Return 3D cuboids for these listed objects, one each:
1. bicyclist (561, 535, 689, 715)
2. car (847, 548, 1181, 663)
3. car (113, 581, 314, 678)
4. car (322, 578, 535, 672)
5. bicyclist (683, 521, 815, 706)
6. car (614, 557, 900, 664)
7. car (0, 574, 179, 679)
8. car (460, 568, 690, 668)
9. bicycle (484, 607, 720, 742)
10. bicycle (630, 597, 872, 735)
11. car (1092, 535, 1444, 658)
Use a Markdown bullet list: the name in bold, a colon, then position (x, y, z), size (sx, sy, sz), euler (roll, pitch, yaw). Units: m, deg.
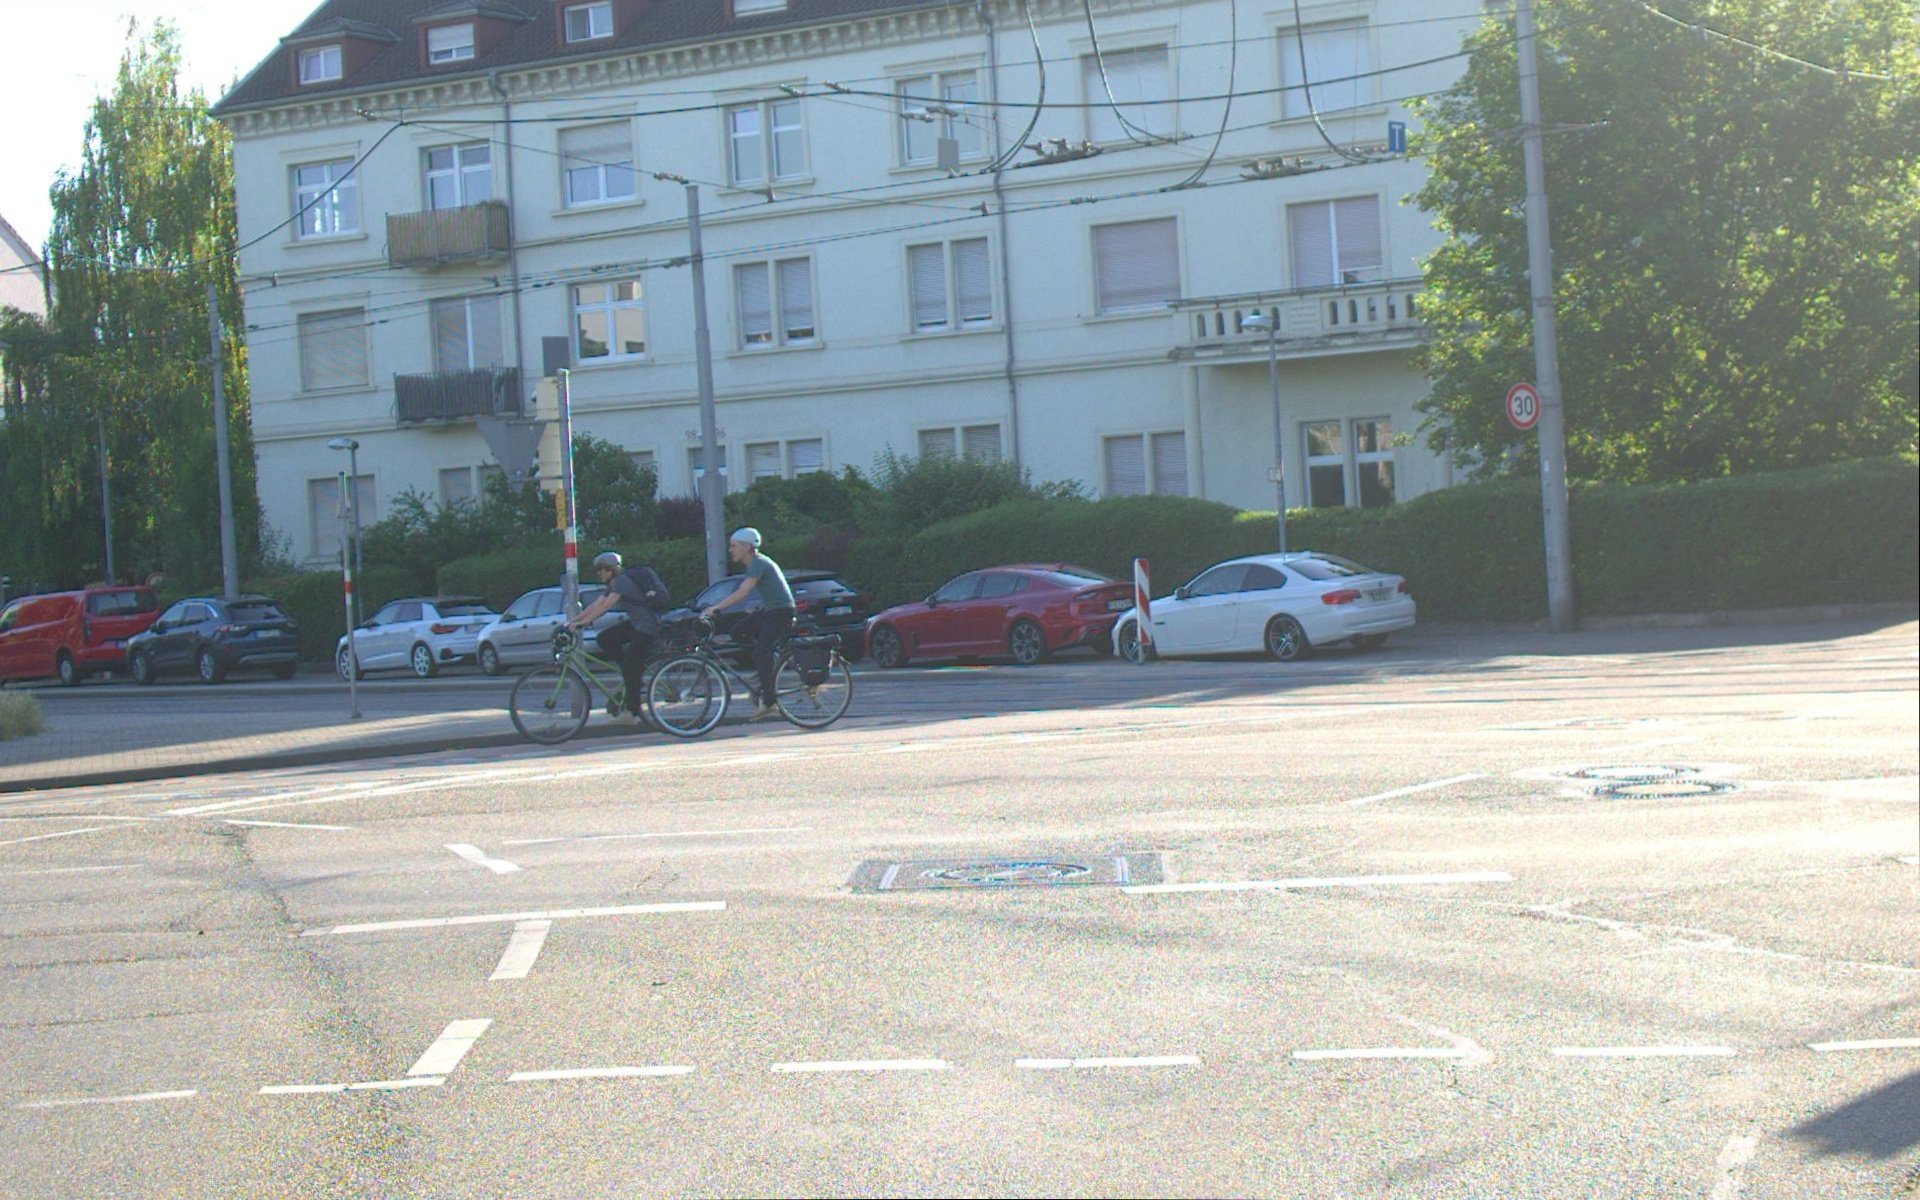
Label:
- **bicyclist**: position (-2.983, 0.215, 30.545), size (1.034, 1.526, 0.661), euler (-3, 1, -7)
- **car**: position (0.746, 0.099, 50.119), size (4.702, 1.371, 1.982), euler (-2, 3, 44)
- **car**: position (-14.616, 0.595, 67.207), size (1.840, 1.662, 4.368), euler (-7, 3, -41)
- **car**: position (-9.514, 0.463, 61.370), size (1.840, 1.442, 3.957), euler (-7, 3, -41)
- **bicyclist**: position (-1.826, 0.110, 29.628), size (1.034, 1.526, 0.698), euler (-3, 1, -5)
- **car**: position (-3.266, 0.186, 54.629), size (1.982, 1.442, 4.703), euler (-7, 3, -41)
- **car**: position (-18.652, 0.576, 72.248), size (2.051, 1.955, 5.148), euler (-7, 3, -41)
- **car**: position (-6.501, 0.320, 57.876), size (1.982, 1.442, 3.717), euler (-7, 3, -41)
- **bicycle**: position (-3.179, 0.649, 30.519), size (2.012, 1.065, 0.664), euler (-3, 1, -7)
- **bicycle**: position (-1.809, 0.559, 29.616), size (2.012, 1.065, 0.664), euler (-3, 1, -5)
- **car**: position (4.086, -0.027, 46.123), size (1.926, 1.371, 4.494), euler (-7, 3, -42)
